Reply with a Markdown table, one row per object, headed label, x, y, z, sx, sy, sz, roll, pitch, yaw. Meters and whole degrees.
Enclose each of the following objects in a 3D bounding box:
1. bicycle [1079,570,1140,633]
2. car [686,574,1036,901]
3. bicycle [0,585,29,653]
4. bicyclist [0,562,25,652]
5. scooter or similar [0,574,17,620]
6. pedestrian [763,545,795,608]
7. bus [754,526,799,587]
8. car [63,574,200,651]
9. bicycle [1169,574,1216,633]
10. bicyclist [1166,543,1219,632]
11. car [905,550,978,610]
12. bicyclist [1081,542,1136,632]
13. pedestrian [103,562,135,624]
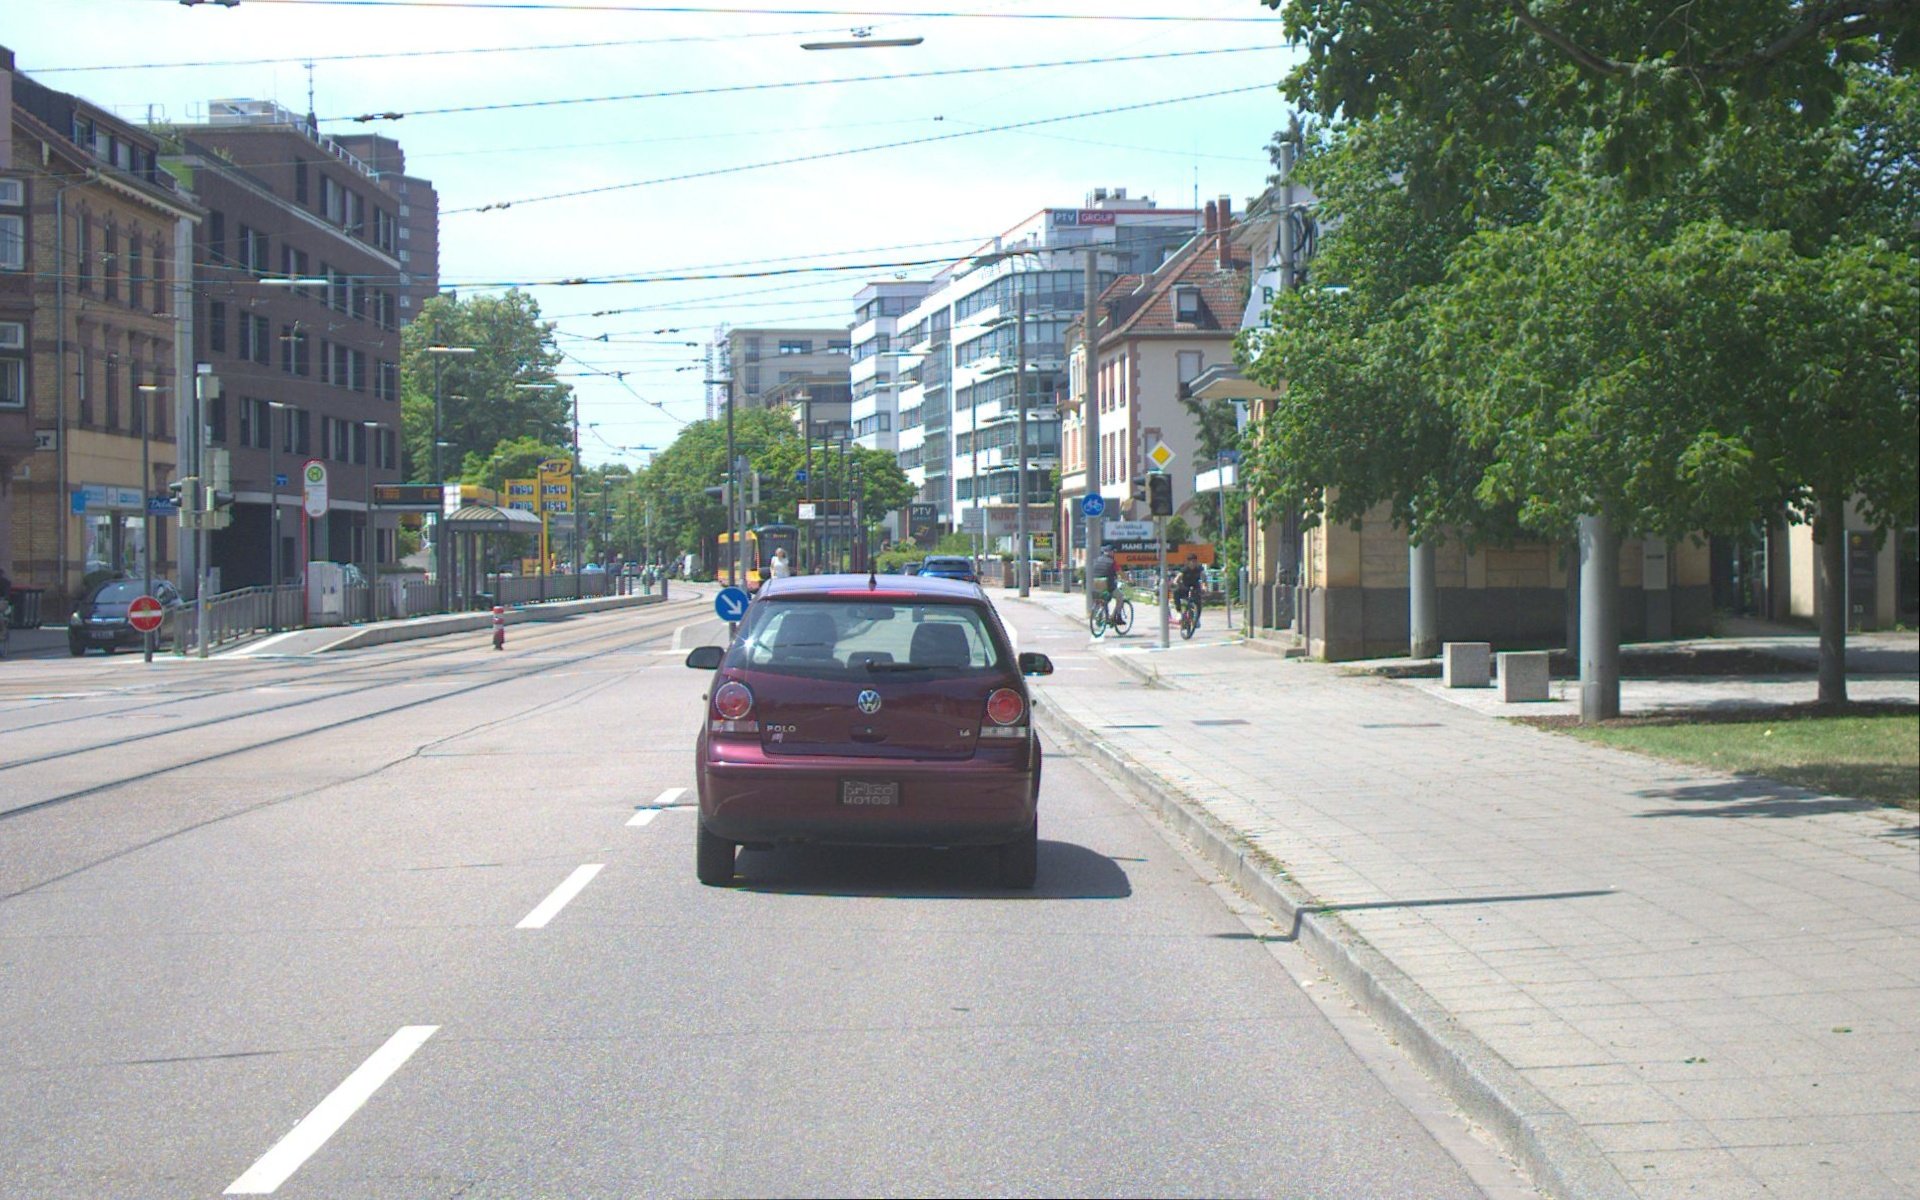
| label | x | y | z | sx | sy | sz | roll | pitch | yaw |
| --- | --- | --- | --- | --- | --- | --- | --- | --- | --- |
| bicycle | 2.948 | 0.023 | 67.756 | 0.376 | 1.193 | 1.902 | 0 | 1 | 29 |
| car | -0.470 | 0.607 | 17.012 | 1.561 | 1.448 | 3.062 | -1 | 1 | -1 |
| bicycle | -19.046 | 0.373 | 68.085 | 0.677 | 1.300 | 2.105 | -1 | 1 | -2 |
| bicyclist | -19.070 | 0.132 | 68.189 | 0.732 | 1.756 | 1.135 | -1 | 1 | -2 |
| scooter or similar | -23.016 | -0.061 | 81.536 | 0.488 | 1.078 | 1.576 | 0 | 1 | 17 |
| pedestrian | -4.794 | -0.624 | 90.934 | 0.763 | 1.669 | 1.100 | 0 | 0 | 1 |
| bus | -9.333 | -2.218 | 175.546 | 2.144 | 2.993 | 6.574 | -1 | 1 | -2 |
| car | -16.443 | 0.224 | 68.371 | 1.709 | 1.434 | 3.865 | -1 | 1 | 1 |
| bicycle | 4.418 | 0.061 | 65.452 | 0.668 | 0.999 | 1.864 | -4 | 2 | -1 |
| bicyclist | 4.424 | -0.244 | 65.488 | 0.832 | 1.612 | 0.860 | -4 | 2 | -1 |
| car | -0.522 | -0.581 | 97.137 | 1.993 | 1.619 | 4.632 | -1 | 1 | 0 |
| bicyclist | 2.927 | -0.267 | 67.801 | 0.728 | 1.754 | 0.922 | 0 | 1 | 29 |
| pedestrian | -21.236 | -0.185 | 86.819 | 0.614 | 1.555 | 0.640 | -1 | 1 | -1 |
